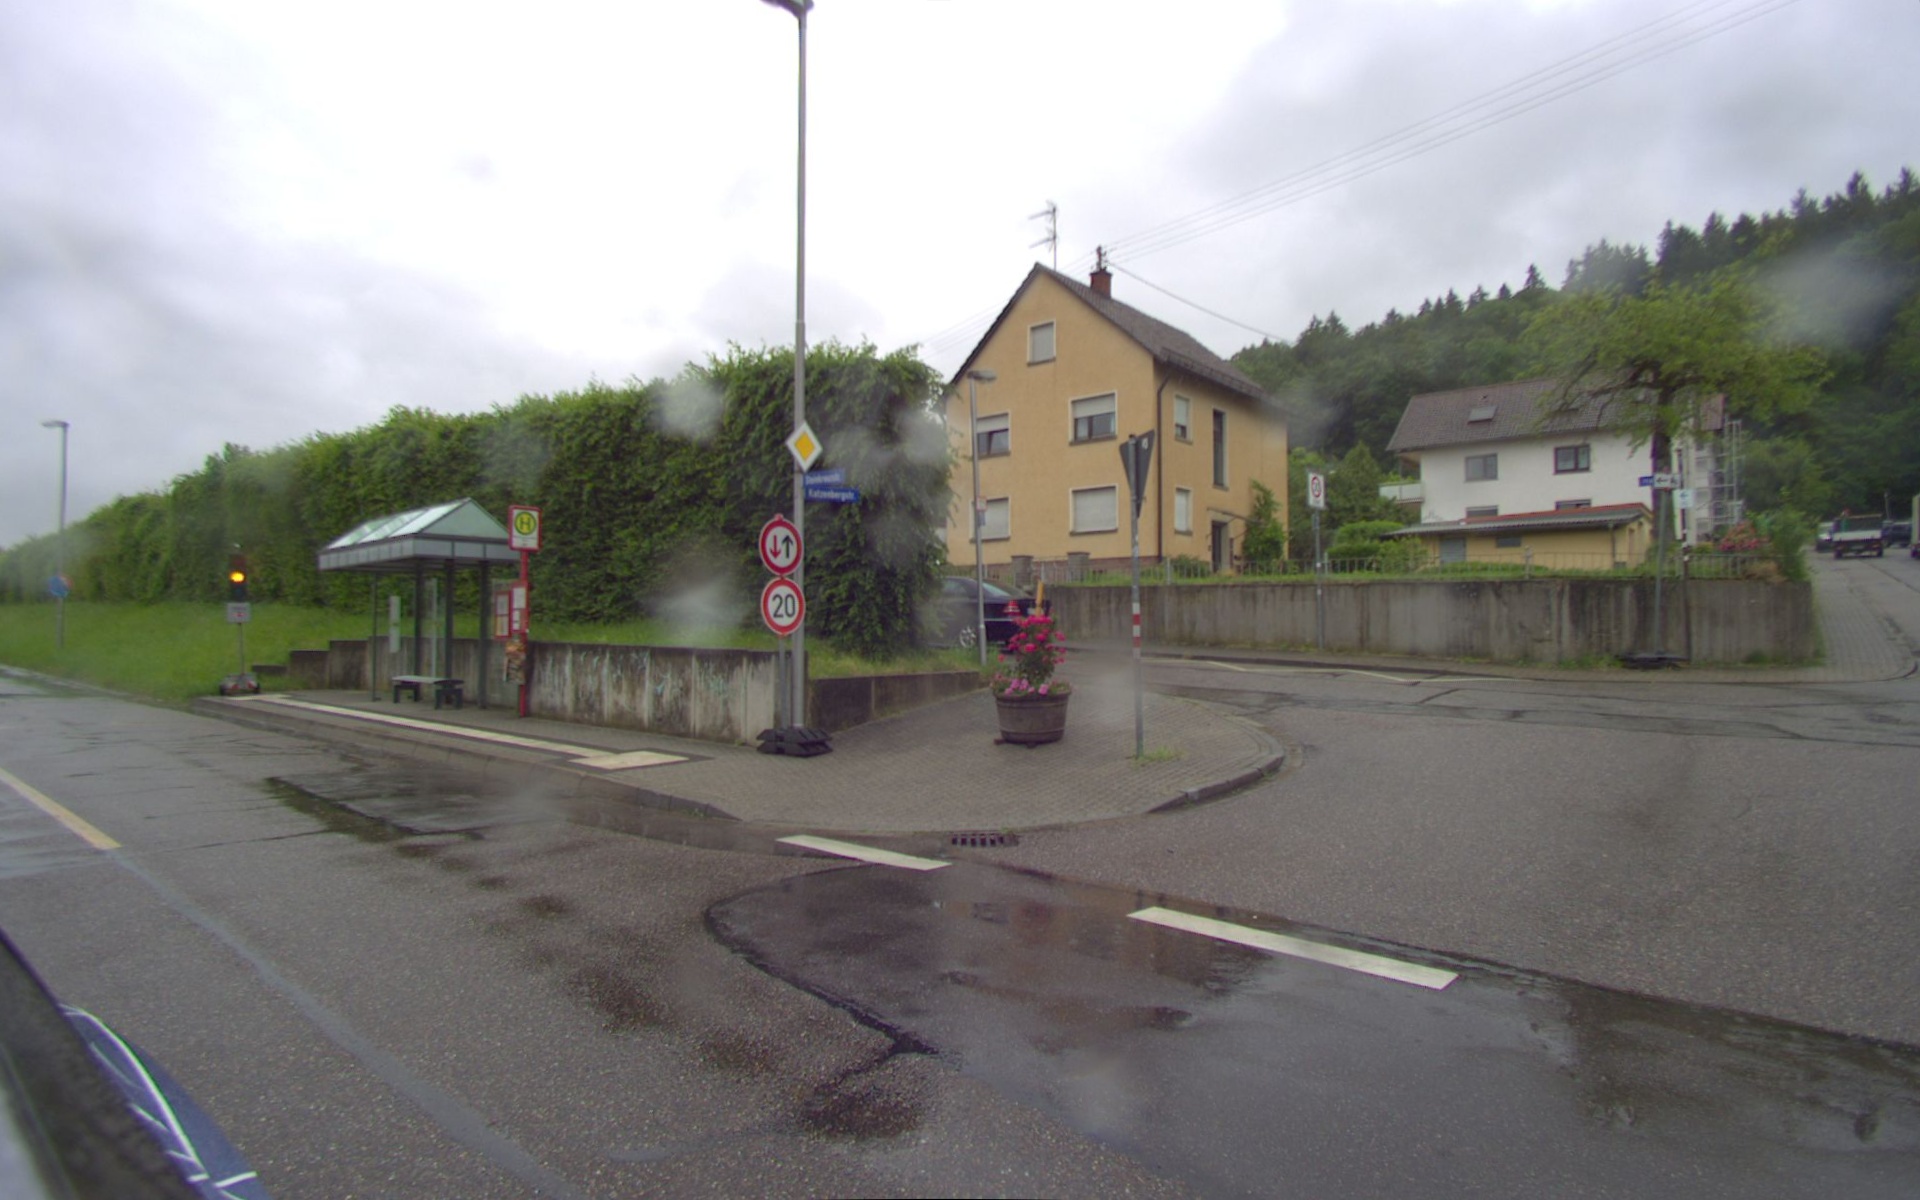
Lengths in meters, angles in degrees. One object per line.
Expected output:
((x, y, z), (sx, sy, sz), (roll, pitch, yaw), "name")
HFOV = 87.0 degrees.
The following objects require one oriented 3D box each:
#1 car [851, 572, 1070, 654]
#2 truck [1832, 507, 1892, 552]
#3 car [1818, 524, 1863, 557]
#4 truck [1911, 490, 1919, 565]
((-0.064, 0.199, 19.995), (4.220, 1.399, 1.726), (2, 1, 41), "car")
((48.718, -3.735, 54.702), (2.299, 2.142, 5.997), (-1, 1, 42), "truck")
((57.151, -3.837, 65.729), (1.913, 2.028, 3.951), (0, 2, 37), "car")
((46.750, -3.413, 47.719), (2.452, 3.377, 6.568), (-1, 1, 41), "truck")
